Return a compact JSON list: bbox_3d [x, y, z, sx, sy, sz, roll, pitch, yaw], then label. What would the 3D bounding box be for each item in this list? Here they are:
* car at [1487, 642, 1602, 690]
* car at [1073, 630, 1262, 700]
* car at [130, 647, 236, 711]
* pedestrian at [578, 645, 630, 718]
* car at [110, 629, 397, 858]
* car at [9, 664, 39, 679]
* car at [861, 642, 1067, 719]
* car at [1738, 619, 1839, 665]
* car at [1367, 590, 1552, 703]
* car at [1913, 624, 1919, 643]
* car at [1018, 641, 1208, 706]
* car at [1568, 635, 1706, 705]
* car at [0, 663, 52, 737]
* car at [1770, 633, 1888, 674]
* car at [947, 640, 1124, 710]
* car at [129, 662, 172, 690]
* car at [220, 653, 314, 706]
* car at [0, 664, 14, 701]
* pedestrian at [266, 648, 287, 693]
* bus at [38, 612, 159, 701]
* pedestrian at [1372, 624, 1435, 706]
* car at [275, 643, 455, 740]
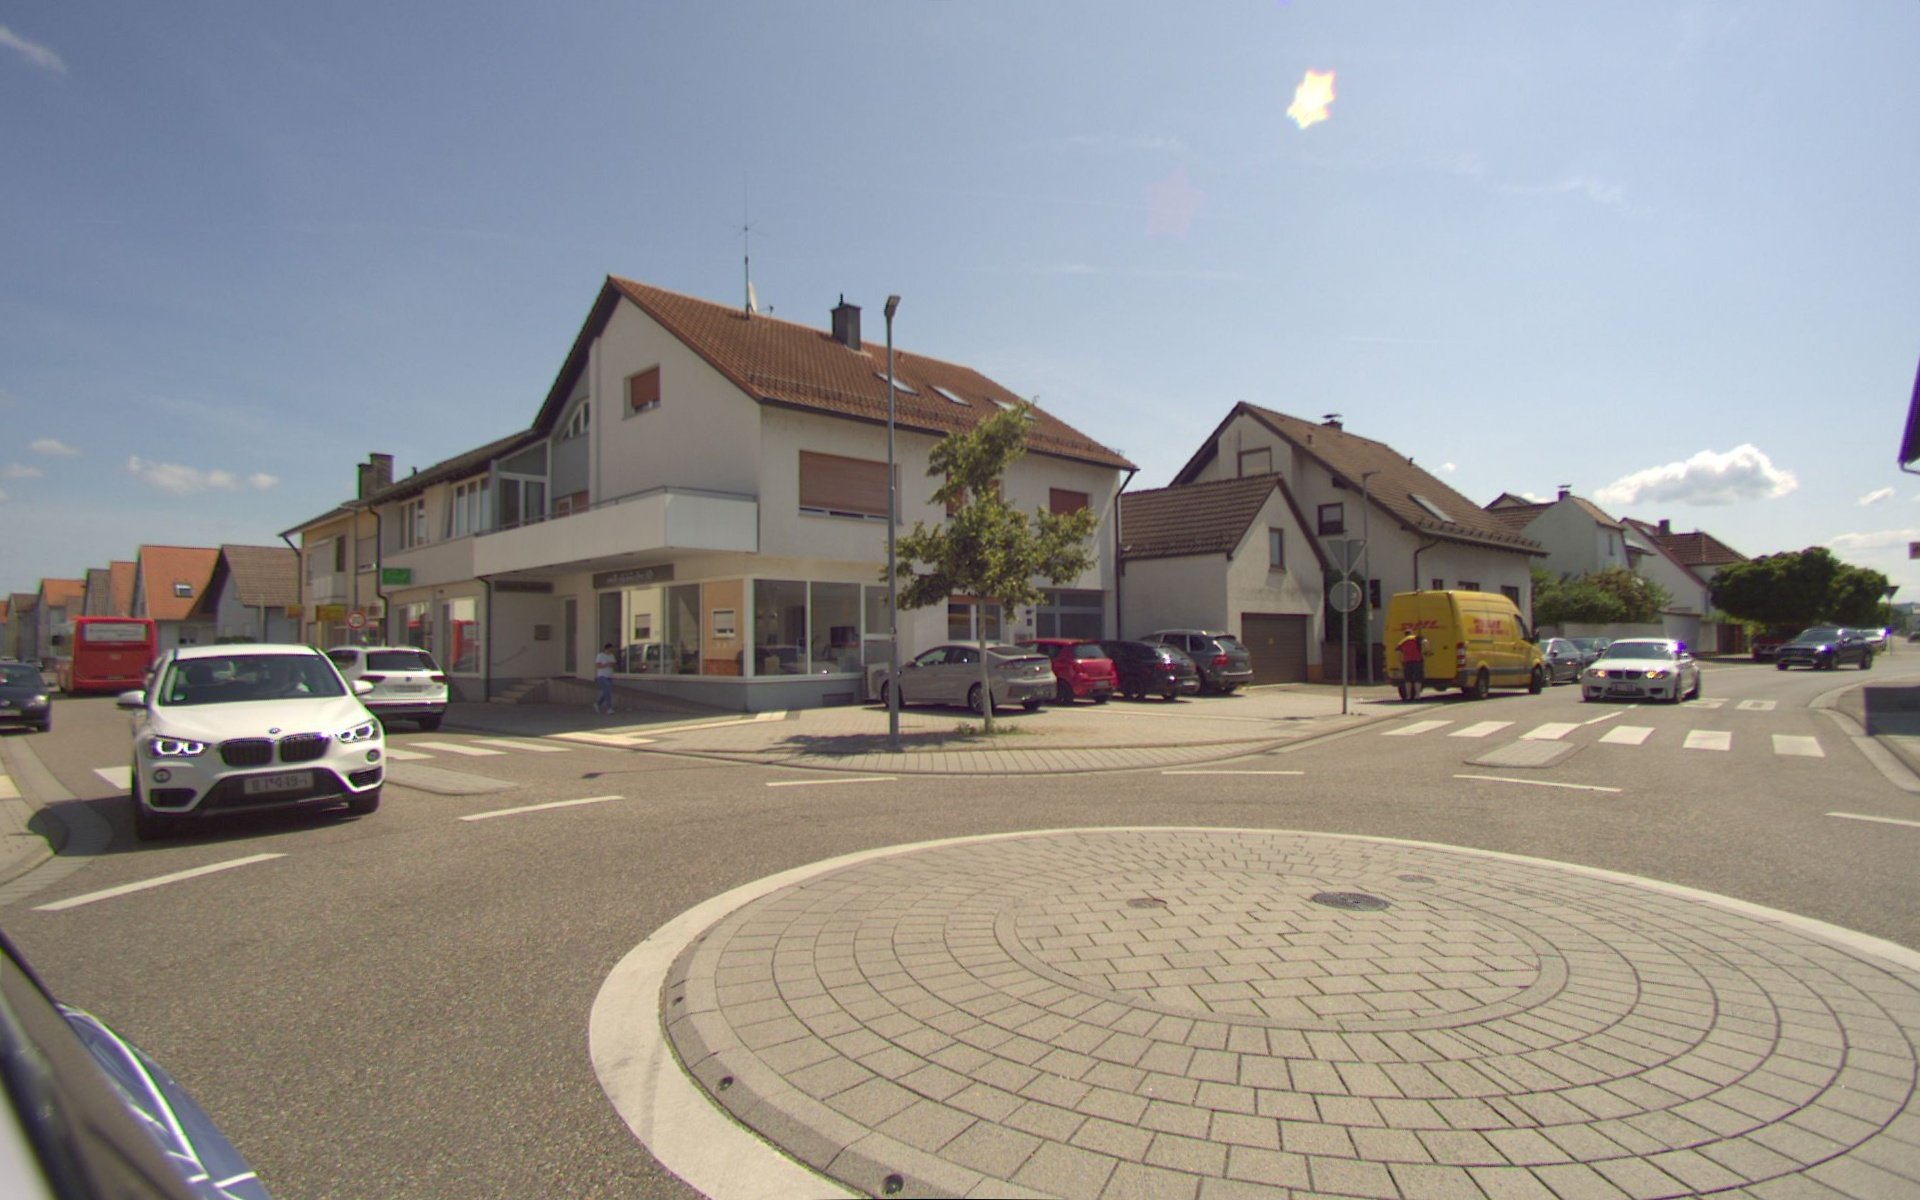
[{"bbox_3d":[18.234,2.015,31.525,3.910,1.254,1.789,-1,-2,-40],"label":"car"},{"bbox_3d":[5.602,1.739,27.731,4.750,1.753,1.958,-3,-3,44],"label":"car"},{"bbox_3d":[-23.898,2.391,31.079,4.440,1.835,1.753,-3,-5,42],"label":"car"},{"bbox_3d":[-8.102,1.830,23.018,0.746,1.595,0.957,-1,-1,-44],"label":"pedestrian"},{"bbox_3d":[-7.065,1.208,9.904,1.817,1.658,4.380,-1,-2,-41],"label":"car"},{"bbox_3d":[-92.156,7.033,99.630,3.851,1.439,1.741,-4,-4,42],"label":"car"},{"bbox_3d":[-0.009,1.666,21.899,4.480,1.462,1.809,-3,-3,44],"label":"car"},{"bbox_3d":[36.981,1.859,45.185,3.904,1.847,1.880,-1,-2,-24],"label":"car"},{"bbox_3d":[12.782,1.185,25.732,5.595,2.592,2.116,2,-4,-41],"label":"car"},{"bbox_3d":[97.060,3.365,101.396,2.092,1.867,4.073,-3,-3,41],"label":"car"},{"bbox_3d":[3.731,1.781,25.311,4.480,1.462,1.809,-3,-3,44],"label":"car"},{"bbox_3d":[15.706,1.560,23.385,1.881,1.460,4.272,-4,-4,44],"label":"car"},{"bbox_3d":[-20.543,2.079,21.415,3.630,1.474,1.667,-4,-6,44],"label":"car"},{"bbox_3d":[33.876,2.044,39.450,4.341,1.361,1.886,-1,-1,-26],"label":"car"},{"bbox_3d":[1.713,1.720,23.871,3.965,1.488,1.727,-3,-3,44],"label":"car"},{"bbox_3d":[-43.230,4.035,54.033,1.437,1.381,3.386,-2,-1,-44],"label":"car"},{"bbox_3d":[-23.374,2.635,34.082,4.000,1.527,1.725,-3,0,43],"label":"car"},{"bbox_3d":[-39.590,3.357,40.931,4.190,1.439,1.740,-4,-5,44],"label":"car"},{"bbox_3d":[-28.099,2.902,41.603,0.693,1.803,0.571,-3,-2,44],"label":"pedestrian"},{"bbox_3d":[-36.052,2.413,42.134,12.026,3.257,2.597,-4,-6,44],"label":"bus"},{"bbox_3d":[10.280,1.500,23.464,1.023,1.840,0.772,-6,-5,43],"label":"pedestrian"},{"bbox_3d":[-12.021,1.777,20.332,4.542,1.723,1.845,-4,-5,43],"label":"car"}]
